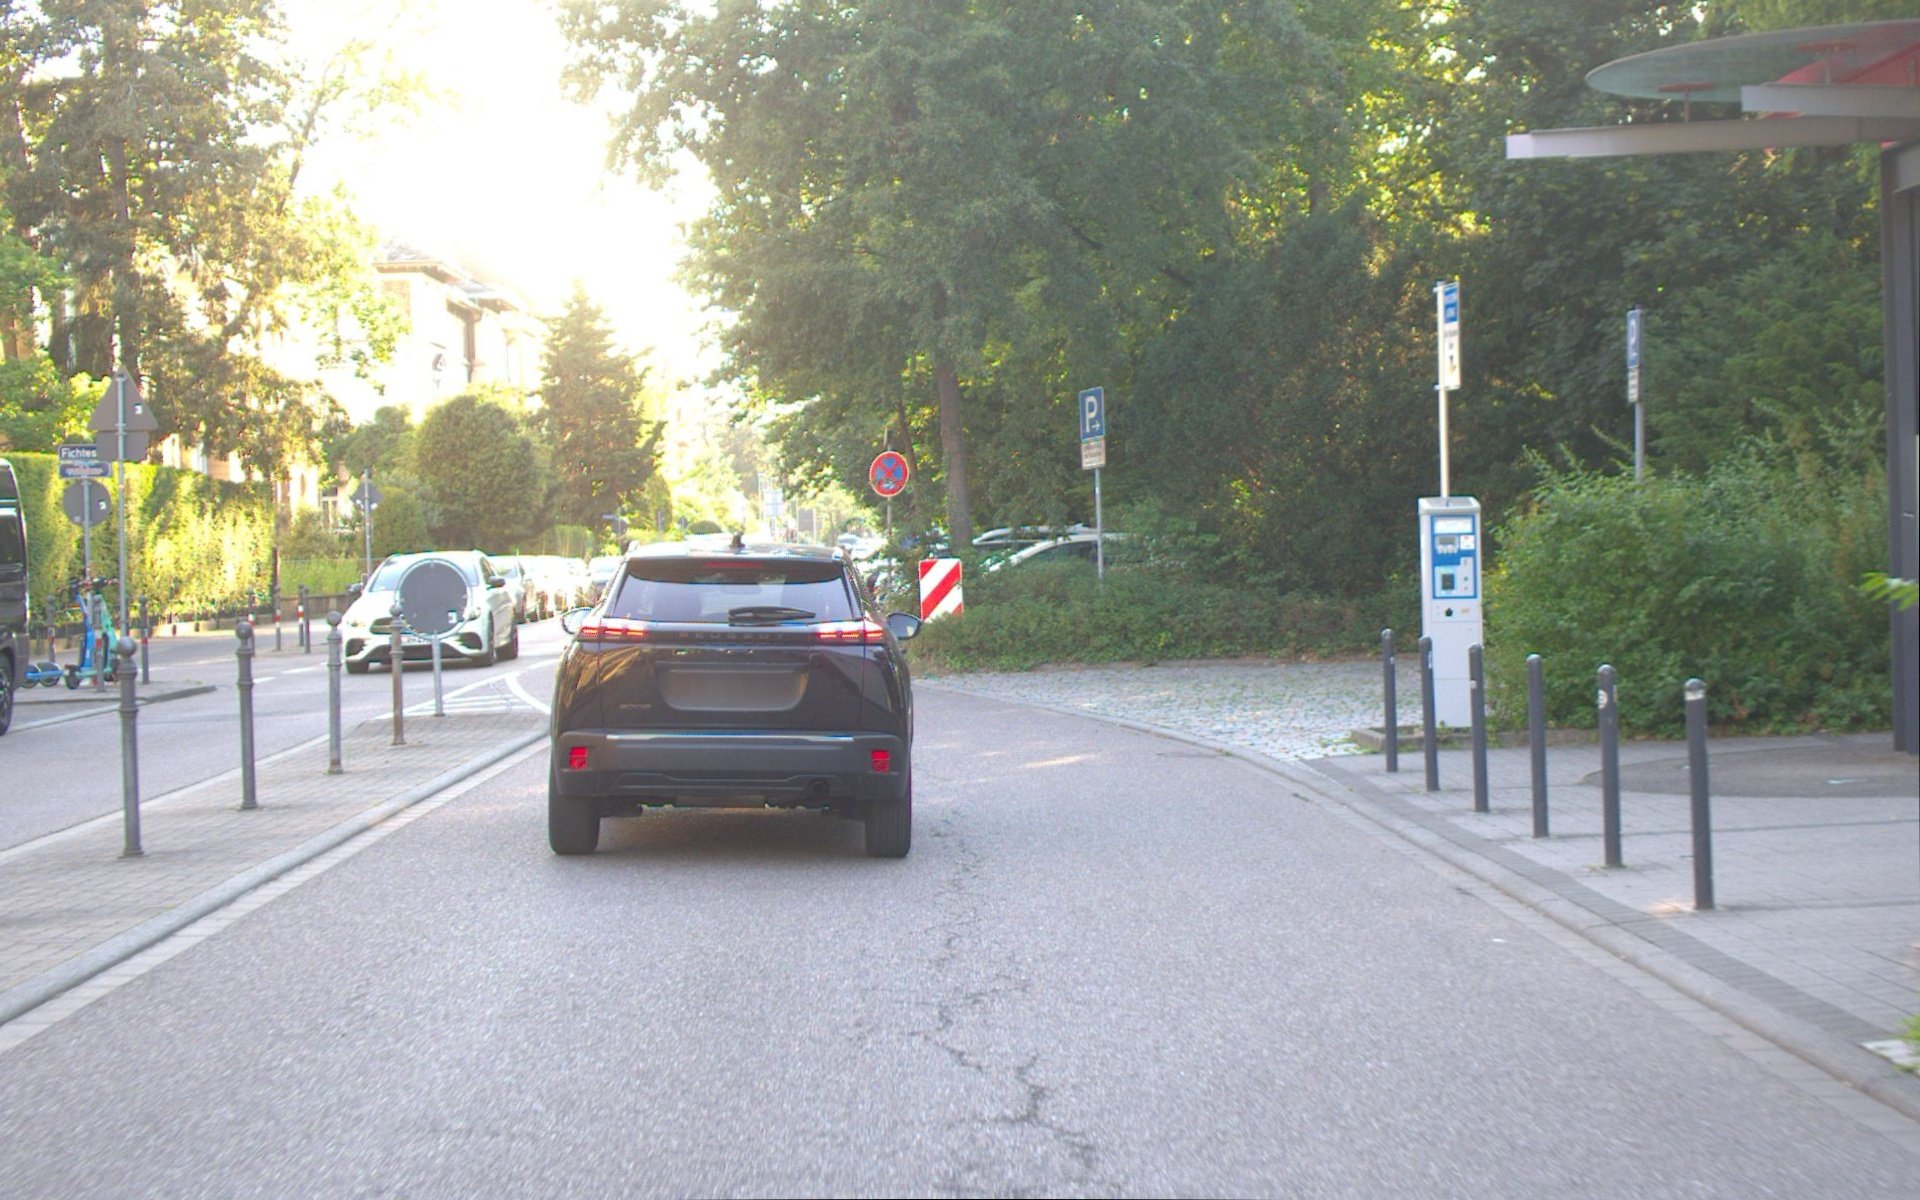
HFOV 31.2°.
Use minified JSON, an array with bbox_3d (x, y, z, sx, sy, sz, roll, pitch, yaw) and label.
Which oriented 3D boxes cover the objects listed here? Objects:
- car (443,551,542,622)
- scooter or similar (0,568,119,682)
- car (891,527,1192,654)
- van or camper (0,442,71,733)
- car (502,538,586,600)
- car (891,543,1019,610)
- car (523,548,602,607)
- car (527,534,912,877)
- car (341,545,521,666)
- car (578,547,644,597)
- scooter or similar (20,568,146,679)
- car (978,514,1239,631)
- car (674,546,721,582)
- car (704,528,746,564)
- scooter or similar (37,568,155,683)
[{"bbox_3d":[-10.142,-0.307,74.875,1.613,1.461,4.036,-2,1,-1],"label":"car"},{"bbox_3d":[-10.416,0.281,39.577,1.340,1.270,0.432,-1,1,-36],"label":"scooter or similar"},{"bbox_3d":[1.080,-0.142,46.904,3.987,1.549,1.726,-2,2,-1],"label":"car"},{"bbox_3d":[-9.437,-0.103,28.987,2.229,2.536,7.080,0,1,-2],"label":"van or camper"},{"bbox_3d":[-10.392,-0.777,86.074,1.613,1.461,4.036,-2,1,-1],"label":"car"},{"bbox_3d":[-0.175,-0.768,111.919,3.986,2.082,1.758,-1,1,-6],"label":"car"},{"bbox_3d":[-10.481,-0.609,90.840,1.613,1.461,4.036,-2,1,-1],"label":"car"},{"bbox_3d":[-1.145,0.449,17.938,1.771,1.563,4.109,0,1,-1],"label":"car"},{"bbox_3d":[-6.915,0.042,45.316,1.741,1.453,4.624,-2,1,-2],"label":"car"},{"bbox_3d":[-10.836,-0.884,106.934,1.752,1.409,3.765,-3,1,-3],"label":"car"},{"bbox_3d":[-10.267,0.267,40.267,1.340,1.270,0.432,-1,1,-36],"label":"scooter or similar"},{"bbox_3d":[2.547,-0.480,59.786,4.306,1.798,2.036,-3,1,-2],"label":"car"},{"bbox_3d":[-11.636,-1.613,152.589,1.899,1.568,4.000,-1,1,-1],"label":"car"},{"bbox_3d":[-11.942,-2.730,174.942,1.993,1.762,4.000,-1,1,-2],"label":"car"},{"bbox_3d":[-9.847,0.283,39.216,0.431,1.270,1.341,-1,1,34],"label":"scooter or similar"}]
